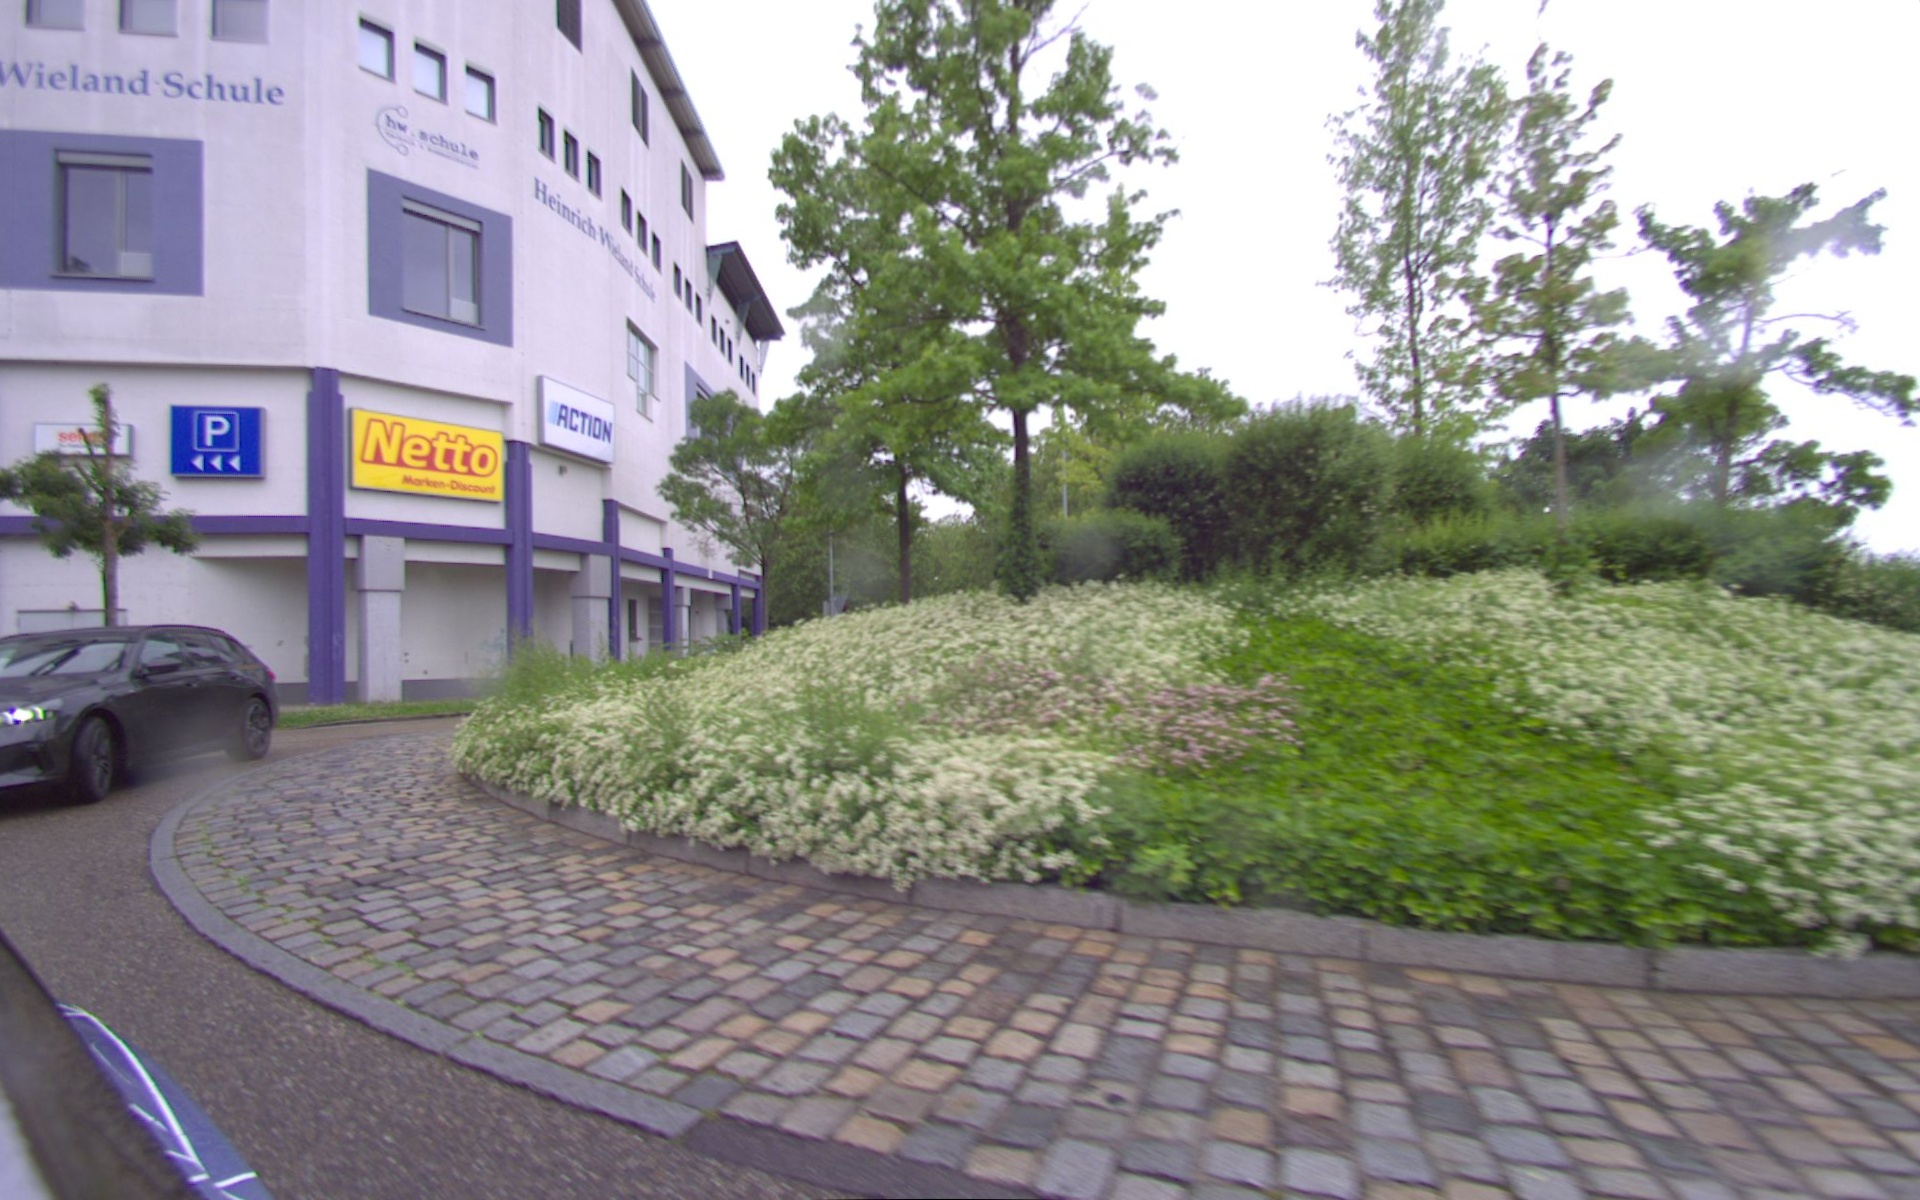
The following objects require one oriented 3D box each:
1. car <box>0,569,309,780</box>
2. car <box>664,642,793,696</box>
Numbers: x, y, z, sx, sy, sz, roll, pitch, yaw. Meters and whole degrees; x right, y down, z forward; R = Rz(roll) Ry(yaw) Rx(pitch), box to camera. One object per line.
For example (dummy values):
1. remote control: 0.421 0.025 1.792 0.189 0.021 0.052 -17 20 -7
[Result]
1. car: -8.196 0.690 9.464 1.815 1.506 4.911 -2 -3 -10
2. car: -8.420 2.543 37.069 4.328 1.773 1.829 -2 -5 -2
